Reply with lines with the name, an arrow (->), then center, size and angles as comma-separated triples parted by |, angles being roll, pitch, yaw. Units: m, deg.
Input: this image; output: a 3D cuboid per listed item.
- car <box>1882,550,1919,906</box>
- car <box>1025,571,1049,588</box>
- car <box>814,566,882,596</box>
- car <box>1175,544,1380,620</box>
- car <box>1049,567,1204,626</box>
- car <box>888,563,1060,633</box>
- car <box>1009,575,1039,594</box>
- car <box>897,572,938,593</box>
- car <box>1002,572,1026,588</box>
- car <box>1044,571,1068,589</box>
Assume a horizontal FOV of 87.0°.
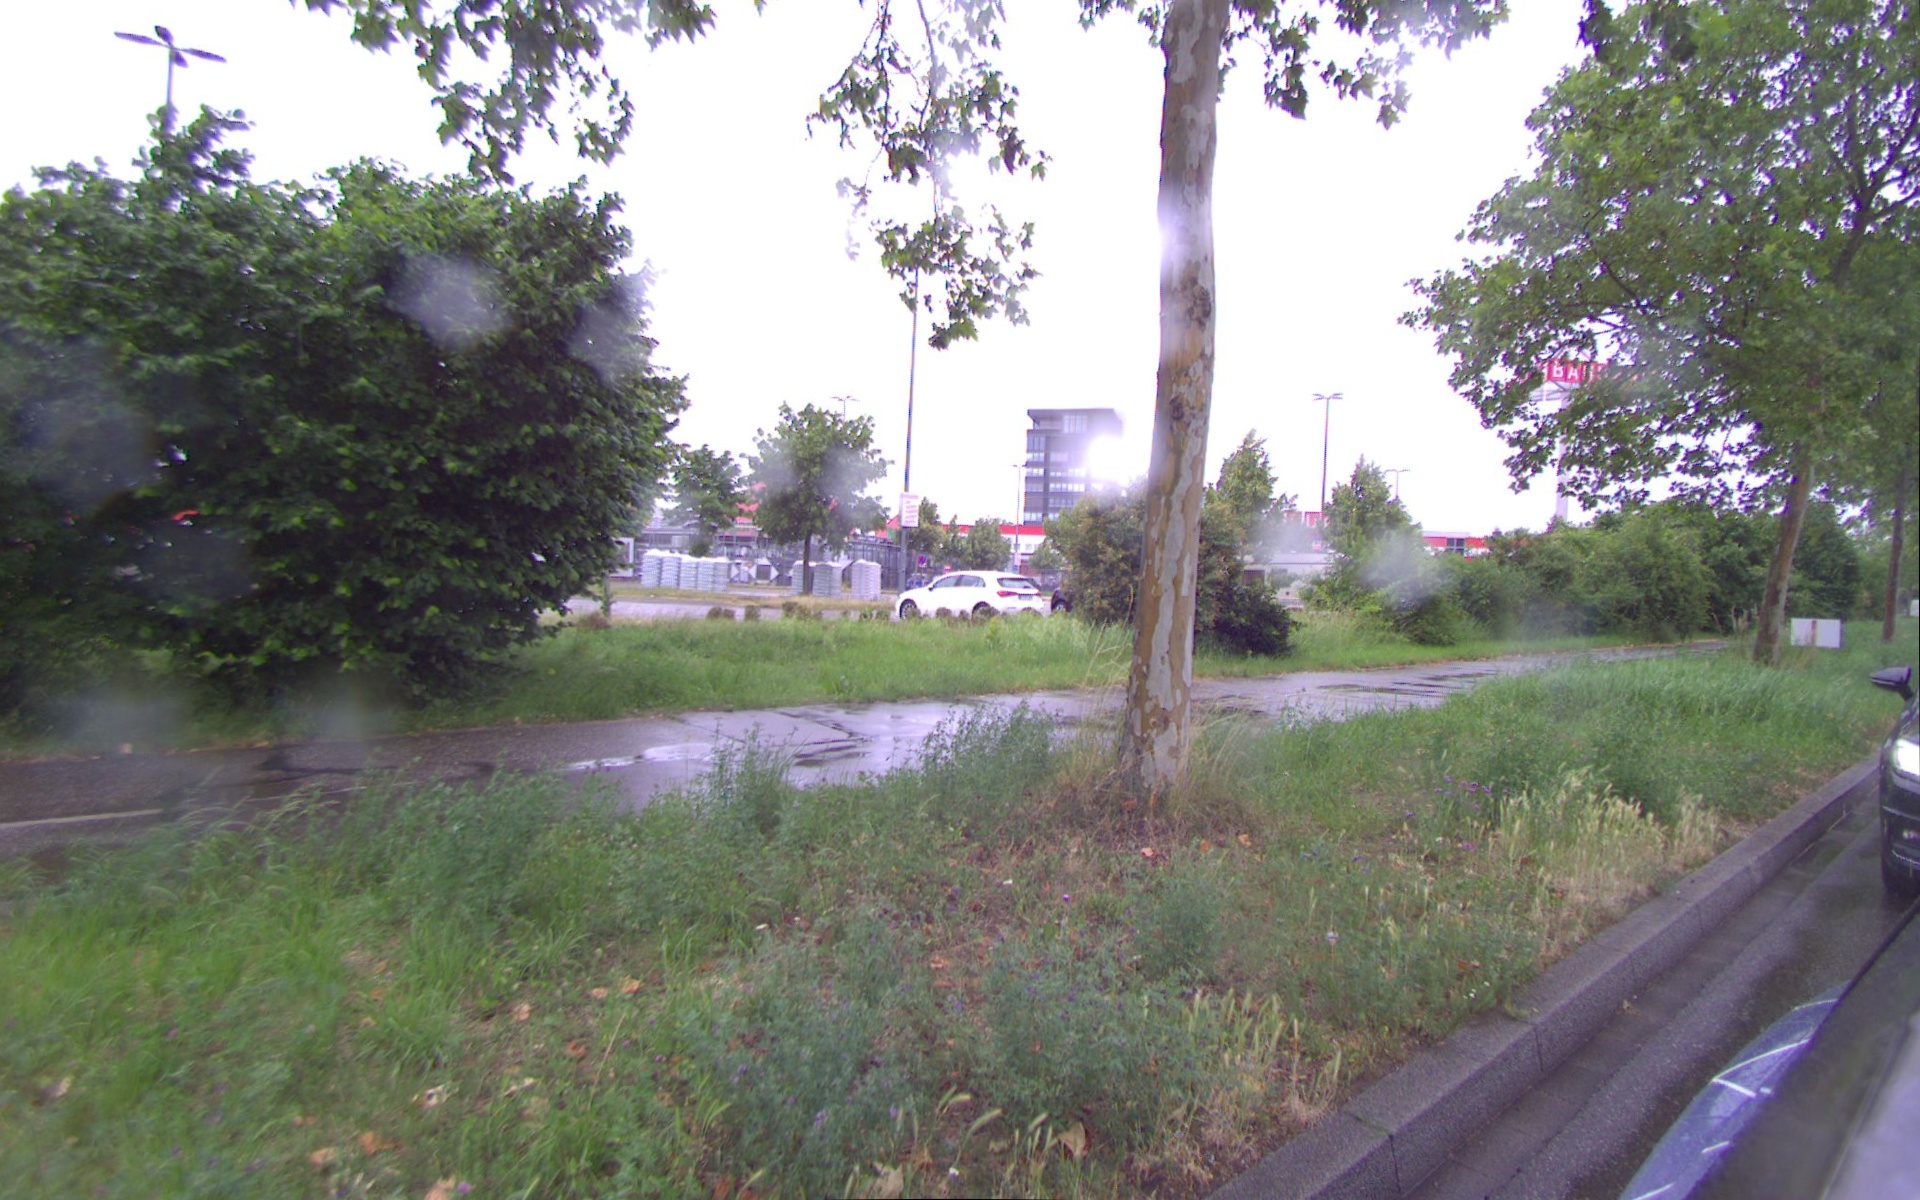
car -> 6.558, 0.580, 5.614 | 4.548, 1.625, 1.768 | 0, 0, -43
car -> 8.497, -2.279, 111.898 | 1.973, 1.697, 4.257 | 2, 2, 13
car -> -6.700, -1.112, 60.759 | 3.723, 1.739, 1.685 | 0, 0, 13
car -> 10.953, -0.701, 35.283 | 6.399, 2.392, 2.357 | 3, 2, 41
car -> 4.928, -0.149, 30.294 | 4.262, 1.571, 1.899 | 3, 2, 45
car -> 0.287, -0.107, 25.939 | 4.262, 1.571, 1.899 | 3, 2, 45
car -> 6.028, -1.443, 94.722 | 1.973, 1.697, 4.255 | 2, 2, 14
car -> -3.286, -1.398, 79.170 | 1.905, 1.571, 4.249 | 2, 2, 18
car -> 6.002, -2.271, 112.499 | 1.973, 1.697, 4.257 | 2, 2, 13
car -> 9.345, -1.975, 98.164 | 1.970, 1.697, 4.263 | 2, 2, 9
